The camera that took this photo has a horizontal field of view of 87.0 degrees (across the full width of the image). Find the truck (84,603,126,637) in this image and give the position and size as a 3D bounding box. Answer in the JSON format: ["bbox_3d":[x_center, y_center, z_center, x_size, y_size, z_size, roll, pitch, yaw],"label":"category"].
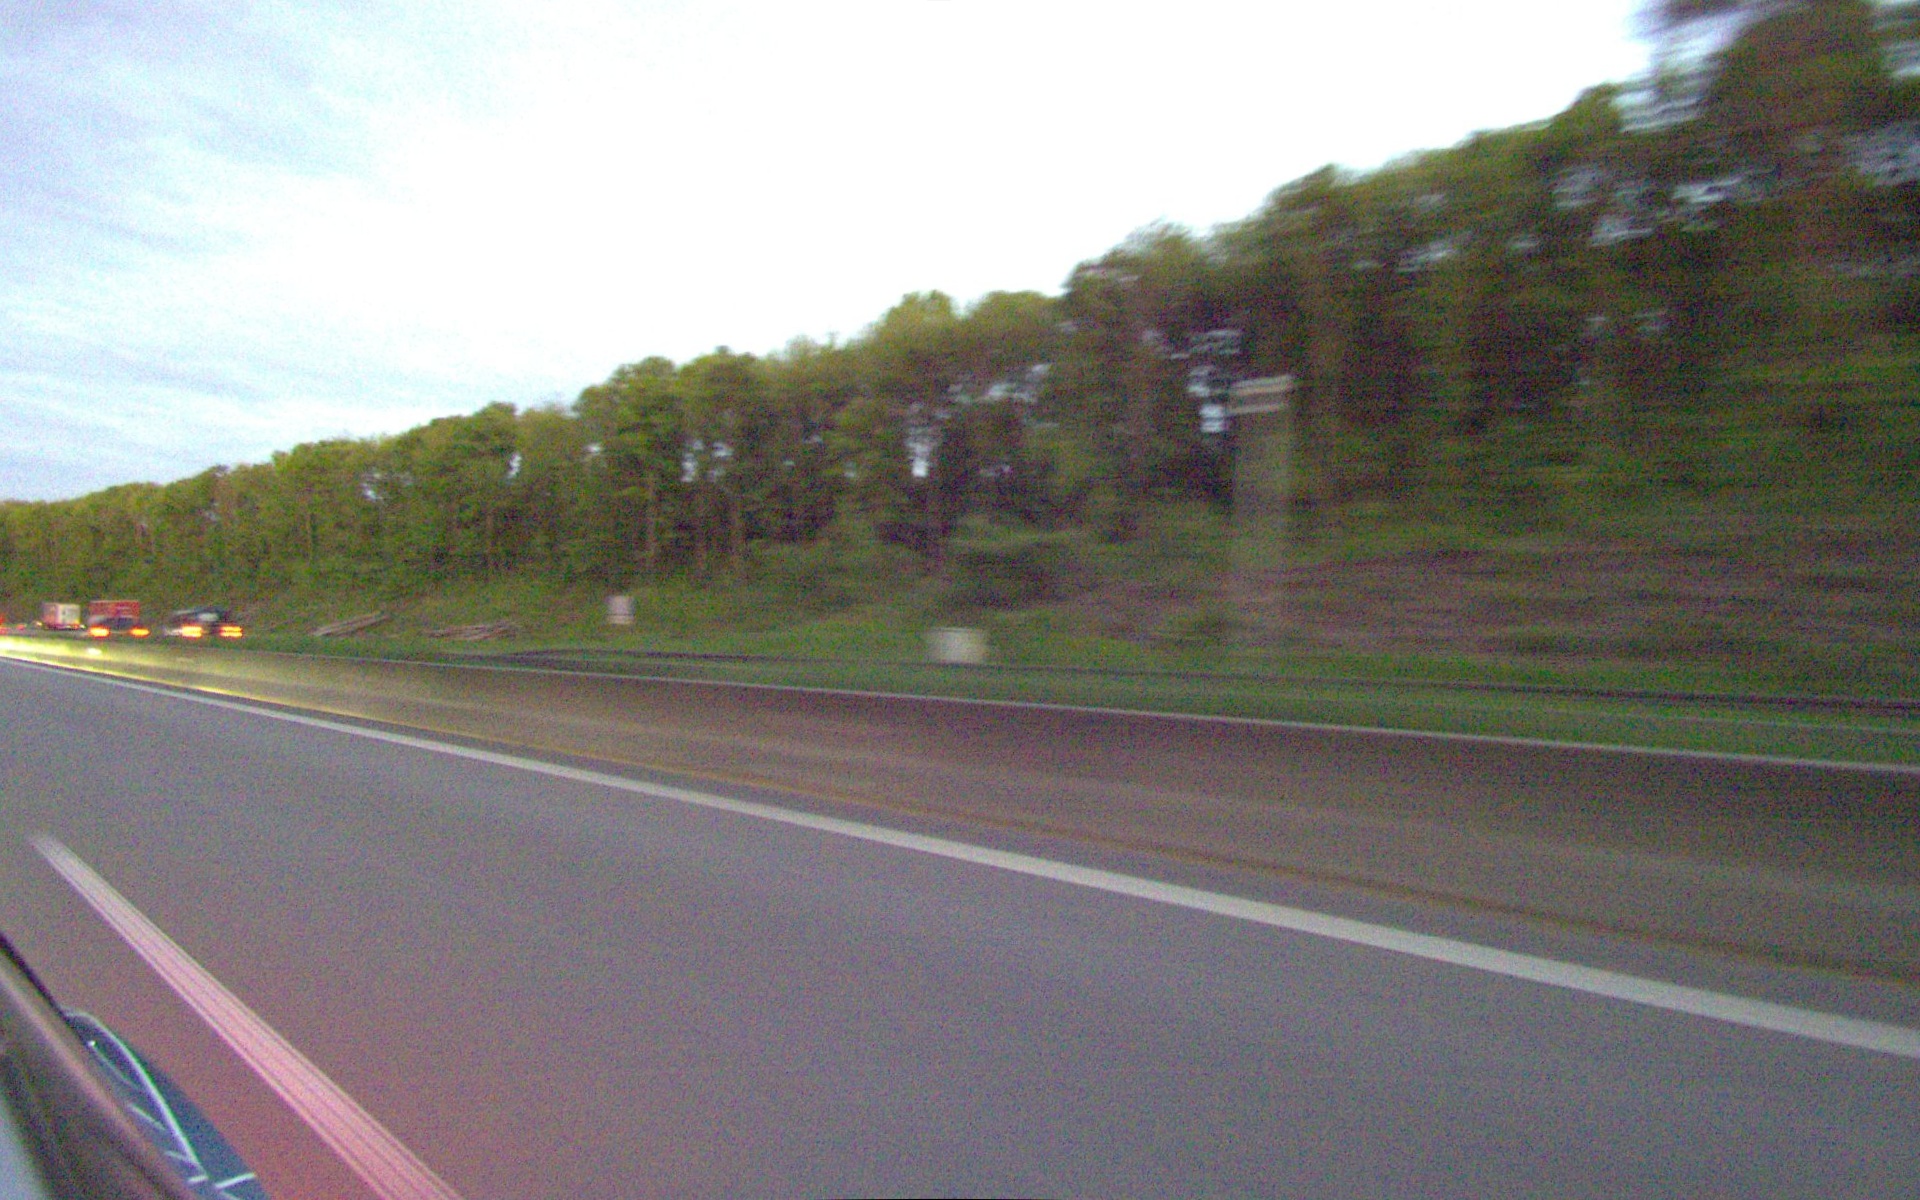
[{"bbox_3d":[-109.015,2.486,129.036,7.688,4.136,3.157,0,0,42],"label":"truck"}]

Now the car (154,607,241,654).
[{"bbox_3d":[-43.205,1.721,57.253,7.513,2.503,2.289,-1,-2,40],"label":"car"}]

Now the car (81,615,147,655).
[{"bbox_3d":[-45.229,1.829,54.067,5.358,2.029,1.972,-1,-2,42],"label":"car"}]

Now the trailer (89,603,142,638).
[{"bbox_3d":[-104.387,2.458,124.946,14.180,4.136,3.157,0,0,42],"label":"trailer"}]

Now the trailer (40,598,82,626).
[{"bbox_3d":[-134.958,1.731,151.838,13.736,4.136,3.157,0,0,42],"label":"trailer"}]
